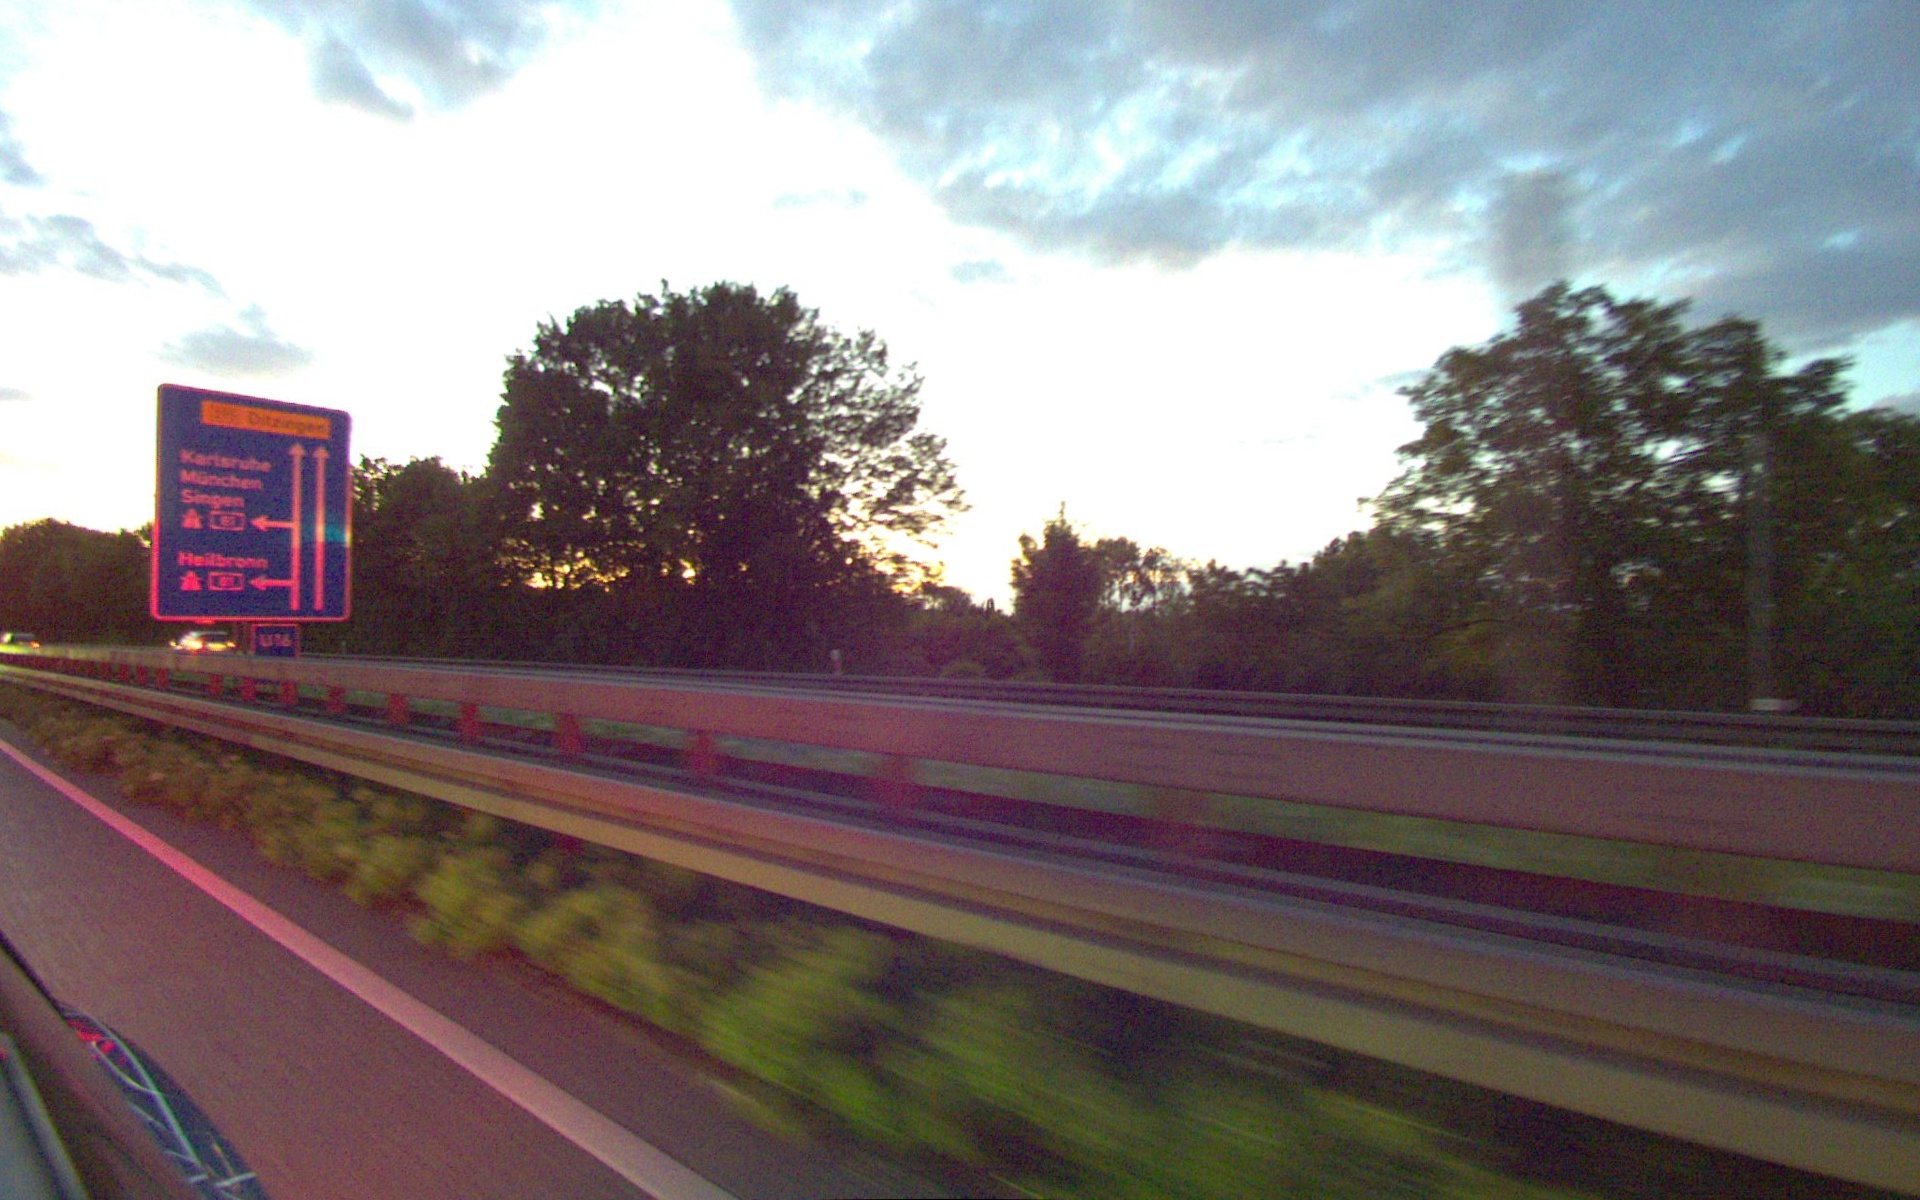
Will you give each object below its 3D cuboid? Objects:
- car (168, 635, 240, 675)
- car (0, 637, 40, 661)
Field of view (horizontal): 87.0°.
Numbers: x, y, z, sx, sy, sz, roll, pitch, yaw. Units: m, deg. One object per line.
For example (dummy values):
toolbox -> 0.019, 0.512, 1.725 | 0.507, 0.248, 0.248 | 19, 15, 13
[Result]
car -> -34.499, 2.460, 46.119 | 4.500, 1.684, 1.775 | -2, -2, 42
car -> -61.168, 3.153, 65.417 | 4.497, 1.443, 1.901 | -2, -3, 39
